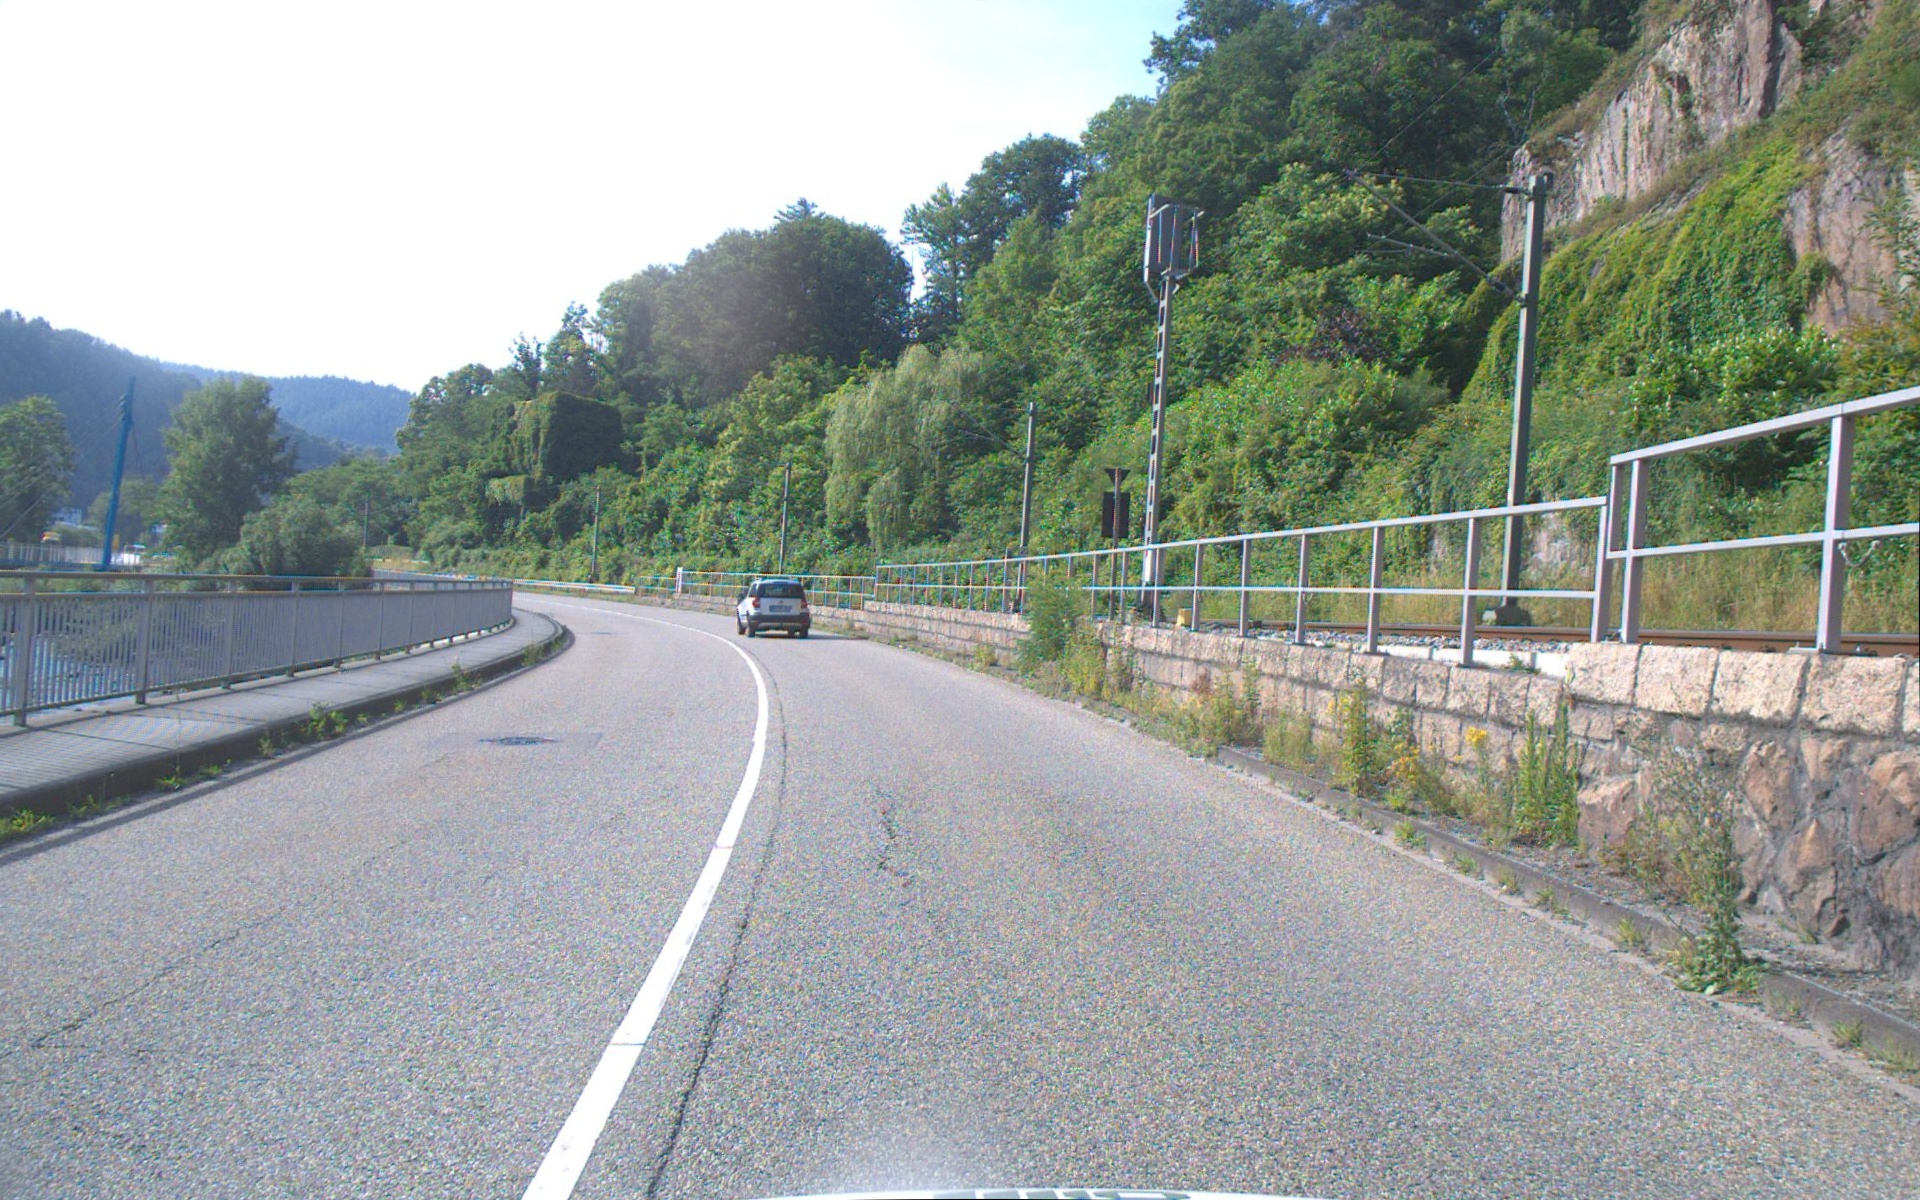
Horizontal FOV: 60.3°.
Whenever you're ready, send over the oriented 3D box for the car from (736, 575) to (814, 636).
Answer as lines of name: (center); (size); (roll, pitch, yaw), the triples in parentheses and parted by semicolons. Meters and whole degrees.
car: (-5.426, 0.132, 48.145); (1.840, 1.684, 3.988); (1, 1, -12)
